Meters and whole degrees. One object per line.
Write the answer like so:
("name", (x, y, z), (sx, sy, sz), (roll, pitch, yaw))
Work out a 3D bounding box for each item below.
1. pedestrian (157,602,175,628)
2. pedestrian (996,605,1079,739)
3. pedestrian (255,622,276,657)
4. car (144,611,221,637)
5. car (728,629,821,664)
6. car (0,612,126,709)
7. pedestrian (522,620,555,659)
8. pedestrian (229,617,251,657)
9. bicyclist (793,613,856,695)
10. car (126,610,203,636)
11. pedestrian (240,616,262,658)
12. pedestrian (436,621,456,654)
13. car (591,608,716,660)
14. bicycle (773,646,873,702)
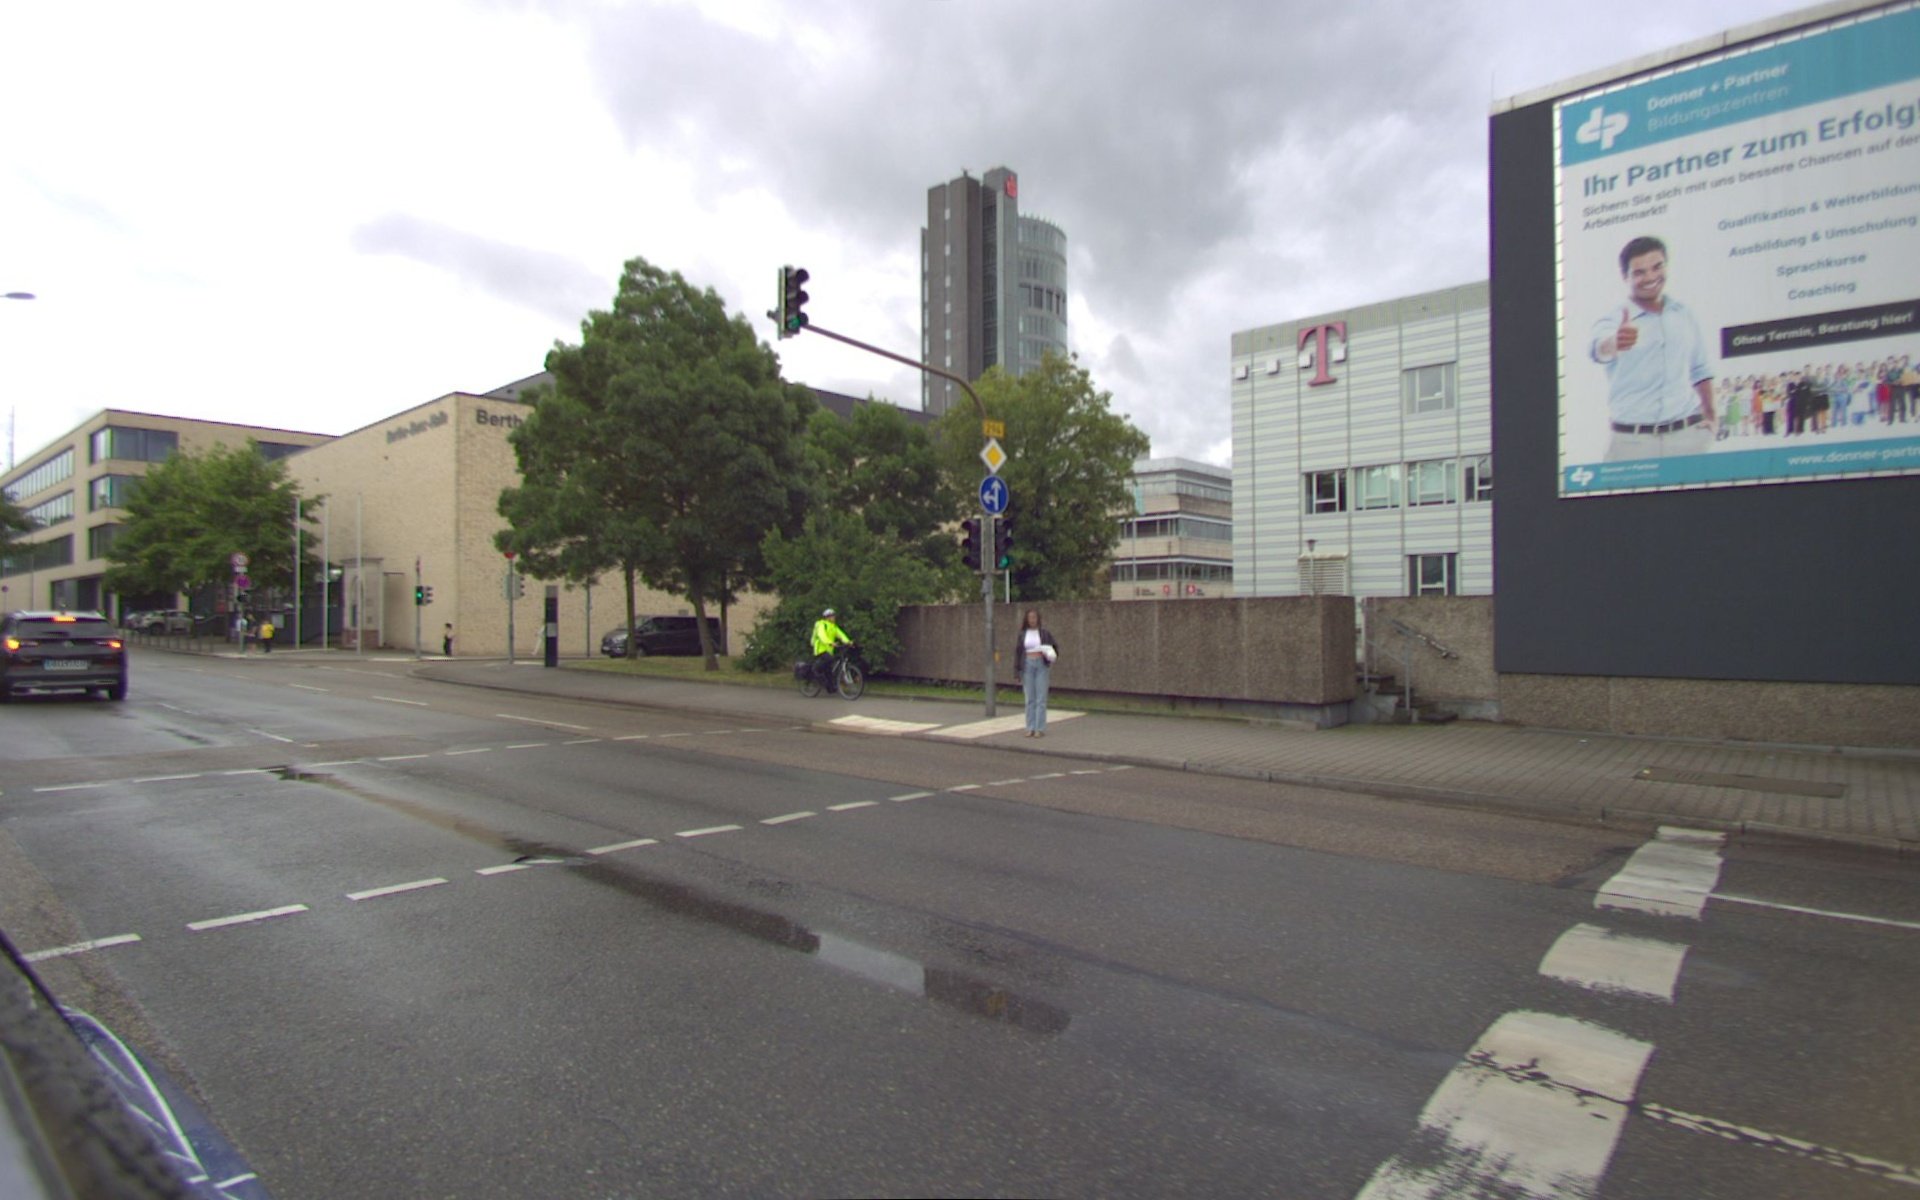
("pedestrian", (-51.933, 0.959, 66.189), (0.792, 1.659, 0.977), (-1, 0, -42))
("pedestrian", (1.038, 0.933, 13.558), (0.811, 1.702, 0.709), (-1, 0, 43))
("pedestrian", (-30.902, 1.760, 45.044), (0.691, 1.528, 0.588), (-1, 0, 40))
("car", (-52.701, 1.588, 68.621), (3.941, 1.597, 2.001), (-2, 1, -45))
("car", (-8.765, 2.215, 48.120), (1.999, 1.469, 3.946), (-1, -5, 41))
("car", (-16.984, 1.033, 18.743), (4.294, 1.606, 1.788), (-1, -1, 42))
("pedestrian", (-19.137, 1.765, 45.932), (0.807, 1.713, 1.099), (-1, 0, 39))
("pedestrian", (-32.311, 1.666, 45.397), (0.691, 1.744, 0.588), (-1, 0, 37))
("bicyclist", (-2.518, 0.980, 18.813), (0.812, 1.453, 0.833), (-1, 0, 43))
("car", (-54.805, 1.551, 69.744), (3.941, 1.597, 2.001), (-2, 1, -45))
("pedestrian", (-30.369, 1.580, 43.320), (0.691, 1.784, 0.588), (-1, 0, 40))
("pedestrian", (-22.184, 1.630, 43.680), (0.475, 1.386, 0.614), (-1, 0, 42))
("car", (-12.949, 1.474, 42.969), (1.998, 1.940, 4.730), (-1, -5, 38))
("bicycle", (-2.567, 1.352, 18.858), (1.867, 0.914, 0.875), (-1, 1, 44))
